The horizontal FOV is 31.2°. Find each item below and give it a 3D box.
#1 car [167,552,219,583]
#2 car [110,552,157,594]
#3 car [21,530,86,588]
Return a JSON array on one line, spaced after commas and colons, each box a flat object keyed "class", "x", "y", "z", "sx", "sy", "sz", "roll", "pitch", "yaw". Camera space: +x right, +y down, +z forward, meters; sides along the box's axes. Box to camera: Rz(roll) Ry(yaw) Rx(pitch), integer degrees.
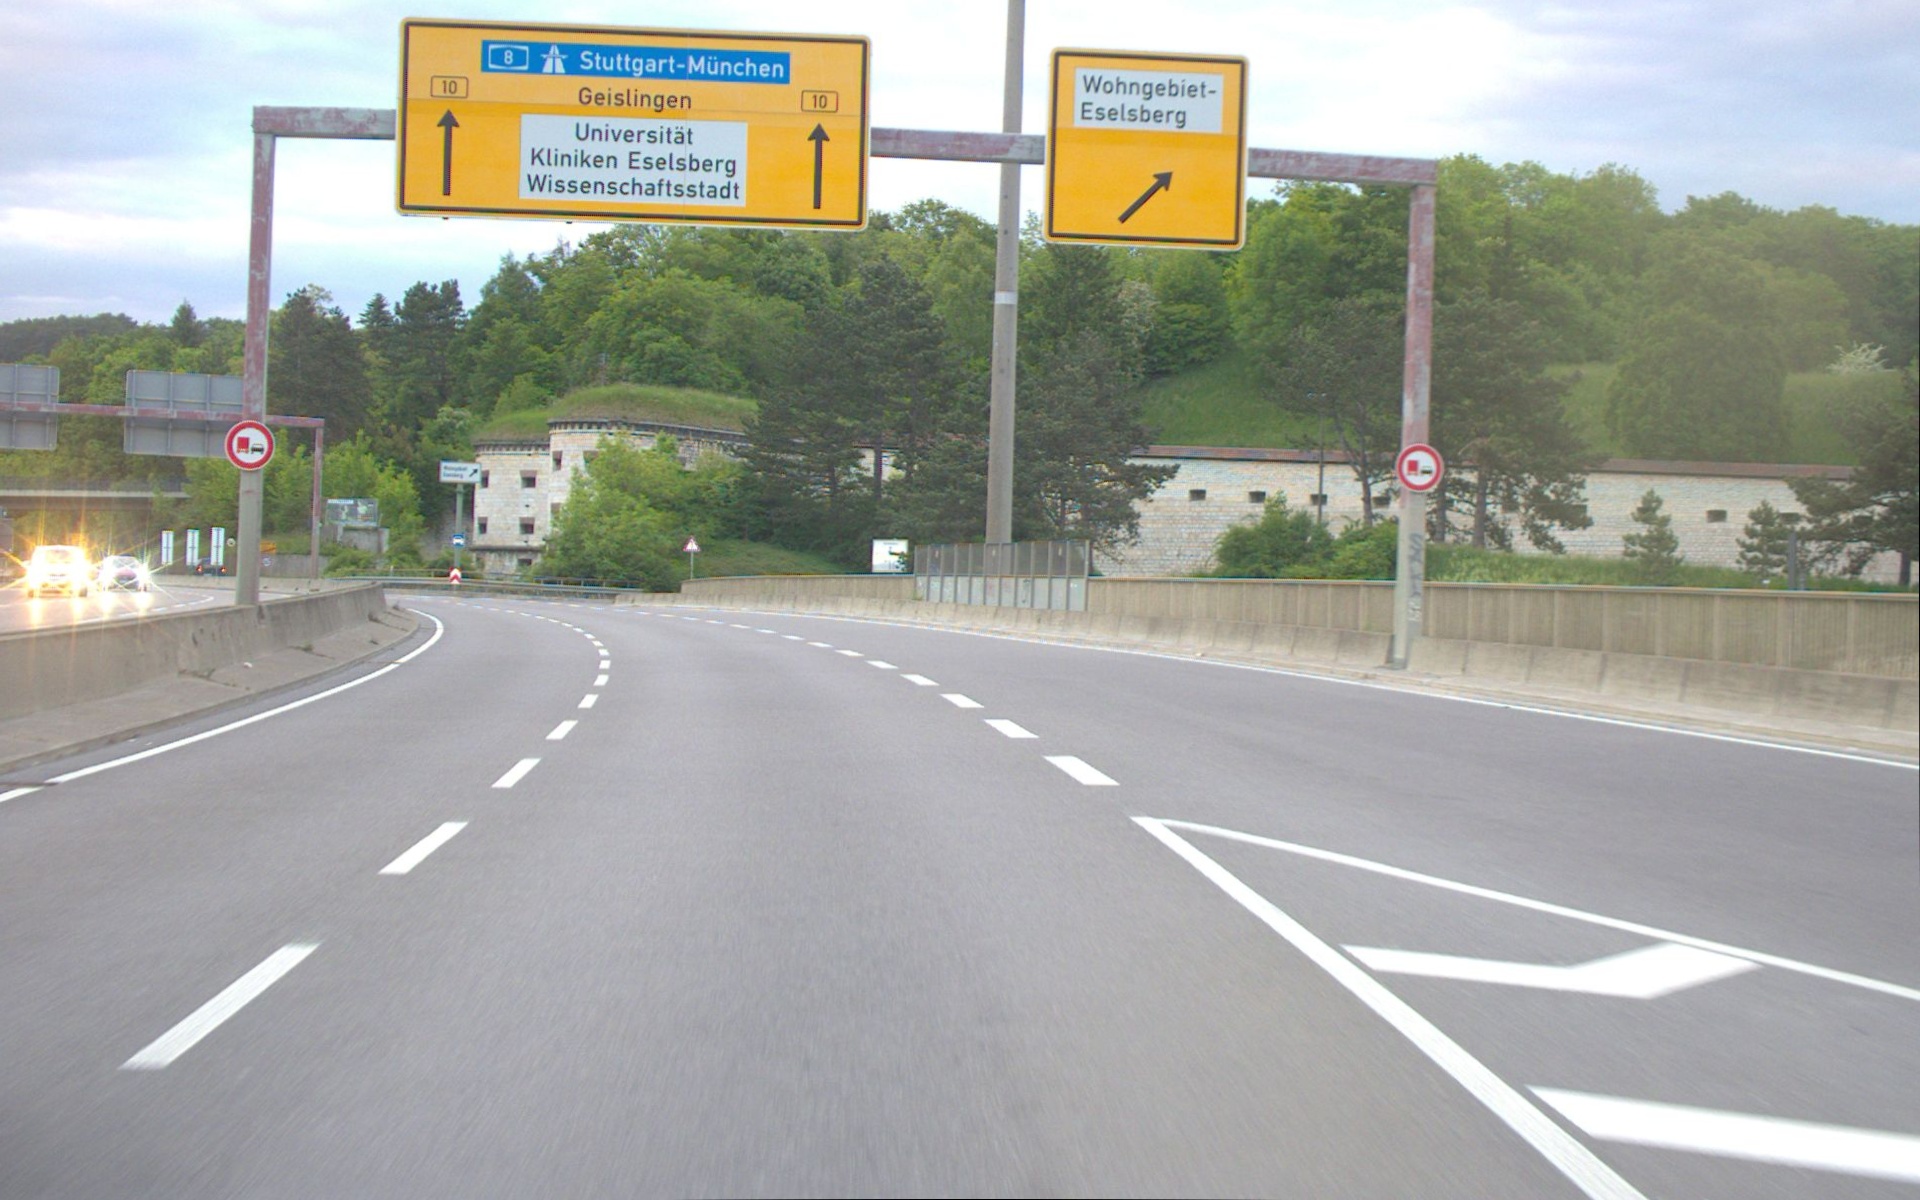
[{"class": "car", "x": -48.558, "y": -2.047, "z": 217.715, "sx": 1.993, "sy": 1.832, "sz": 4.000, "roll": 2, "pitch": -1, "yaw": -31}, {"class": "car", "x": -33.453, "y": -1.091, "z": 139.257, "sx": 1.667, "sy": 1.637, "sz": 4.001, "roll": 1, "pitch": 1, "yaw": -11}, {"class": "car", "x": -27.992, "y": -1.259, "z": 106.237, "sx": 1.667, "sy": 1.727, "sz": 4.001, "roll": 1, "pitch": 0, "yaw": -11}]
